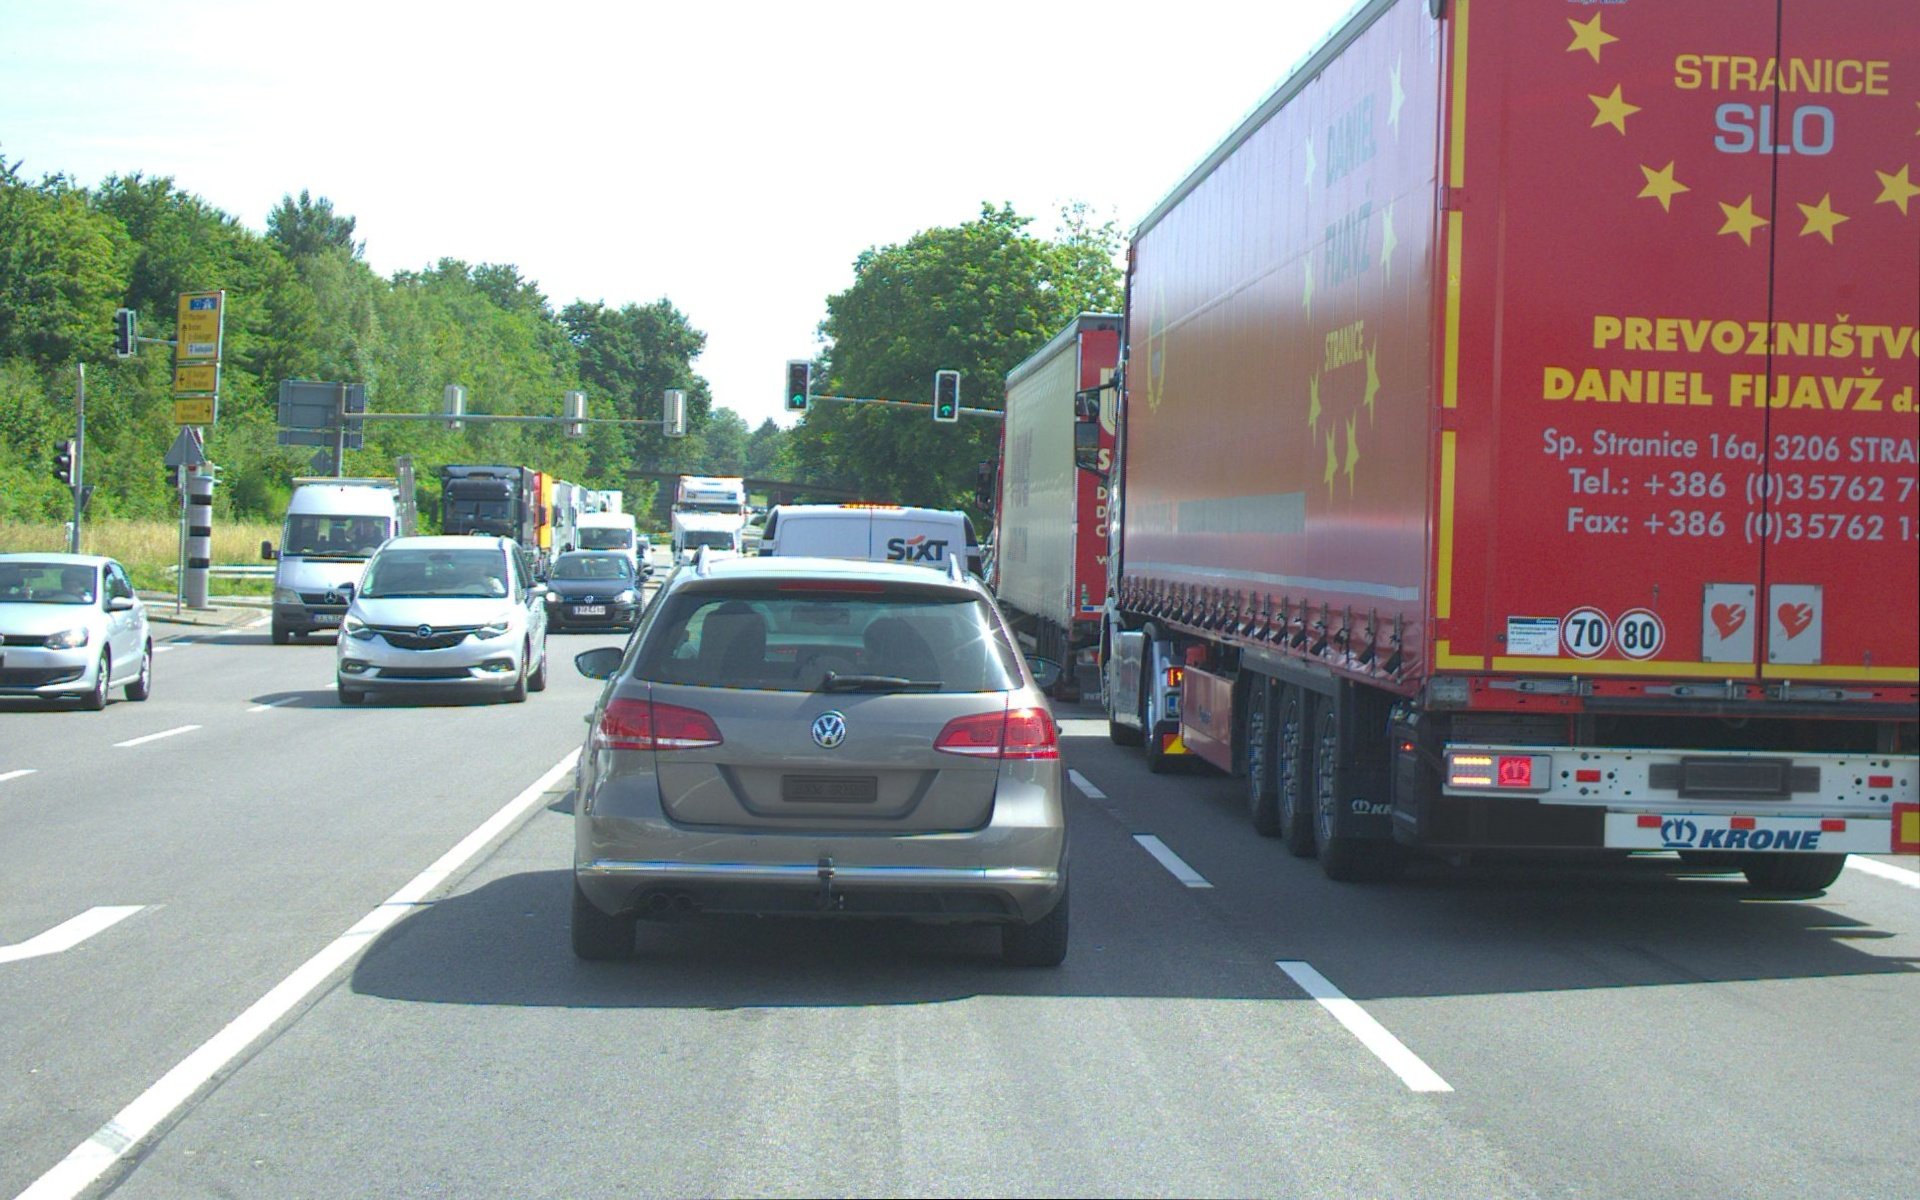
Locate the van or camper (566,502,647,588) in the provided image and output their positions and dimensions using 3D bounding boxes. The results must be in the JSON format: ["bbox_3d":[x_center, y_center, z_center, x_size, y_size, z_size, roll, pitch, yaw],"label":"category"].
[{"bbox_3d":[-10.994,-1.725,107.179,2.173,2.542,4.171,2,1,-3],"label":"van or camper"}]

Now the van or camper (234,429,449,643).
[{"bbox_3d":[-9.790,-1.019,54.927,2.207,3.045,5.903,5,1,-1],"label":"van or camper"}]

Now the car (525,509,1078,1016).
[{"bbox_3d":[-0.482,0.509,12.999,1.790,1.633,3.503,1,1,1],"label":"car"}]

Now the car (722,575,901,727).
[{"bbox_3d":[-1.559,0.525,37.170,1.727,1.514,3.312,2,0,0],"label":"car"}]

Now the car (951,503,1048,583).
[{"bbox_3d":[0.782,-1.141,69.753,1.726,1.514,3.312,2,0,-2],"label":"car"}]

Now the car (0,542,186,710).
[{"bbox_3d":[-8.625,0.194,32.243,1.836,1.443,4.081,1,1,-1],"label":"car"}]

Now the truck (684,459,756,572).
[{"bbox_3d":[-9.300,-3.270,133.935,2.552,4.292,7.596,0,1,-2],"label":"truck"}]

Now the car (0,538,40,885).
[{"bbox_3d":[-5.119,0.501,13.236,1.909,1.516,4.781,1,1,-1],"label":"car"}]

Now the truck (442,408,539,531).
[{"bbox_3d":[-14.971,-4.114,109.978,2.812,3.773,6.991,0,1,-6],"label":"truck"}]

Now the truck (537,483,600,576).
[{"bbox_3d":[-16.371,-2.953,143.923,2.532,3.773,6.991,0,1,-6],"label":"truck"}]

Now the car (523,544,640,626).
[{"bbox_3d":[-6.679,-0.286,60.975,1.666,1.404,3.926,0,1,-1],"label":"car"}]

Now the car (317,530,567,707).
[{"bbox_3d":[-5.124,0.139,34.519,1.909,1.657,4.181,0,1,-1],"label":"car"}]

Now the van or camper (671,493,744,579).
[{"bbox_3d":[-8.708,-2.165,119.123,2.224,2.831,5.711,2,0,-2],"label":"van or camper"}]

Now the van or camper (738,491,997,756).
[{"bbox_3d":[-0.766,0.141,27.254,1.852,1.899,3.785,2,1,-3],"label":"van or camper"}]

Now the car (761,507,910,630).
[{"bbox_3d":[-1.612,-0.409,45.461,1.727,1.514,3.312,2,0,1],"label":"car"}]

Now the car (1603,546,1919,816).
[{"bbox_3d":[5.744,0.483,23.687,1.819,1.679,4.000,1,1,0],"label":"car"}]

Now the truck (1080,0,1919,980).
[{"bbox_3d":[2.863,-0.863,21.231,2.957,4.255,16.586,2,1,-2],"label":"truck"}]

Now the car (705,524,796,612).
[{"bbox_3d":[-4.718,-0.709,77.750,1.727,1.902,3.312,2,0,1],"label":"car"}]

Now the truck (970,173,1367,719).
[{"bbox_3d":[2.047,-1.646,41.879,3.062,5.203,17.009,2,1,-2],"label":"truck"}]
